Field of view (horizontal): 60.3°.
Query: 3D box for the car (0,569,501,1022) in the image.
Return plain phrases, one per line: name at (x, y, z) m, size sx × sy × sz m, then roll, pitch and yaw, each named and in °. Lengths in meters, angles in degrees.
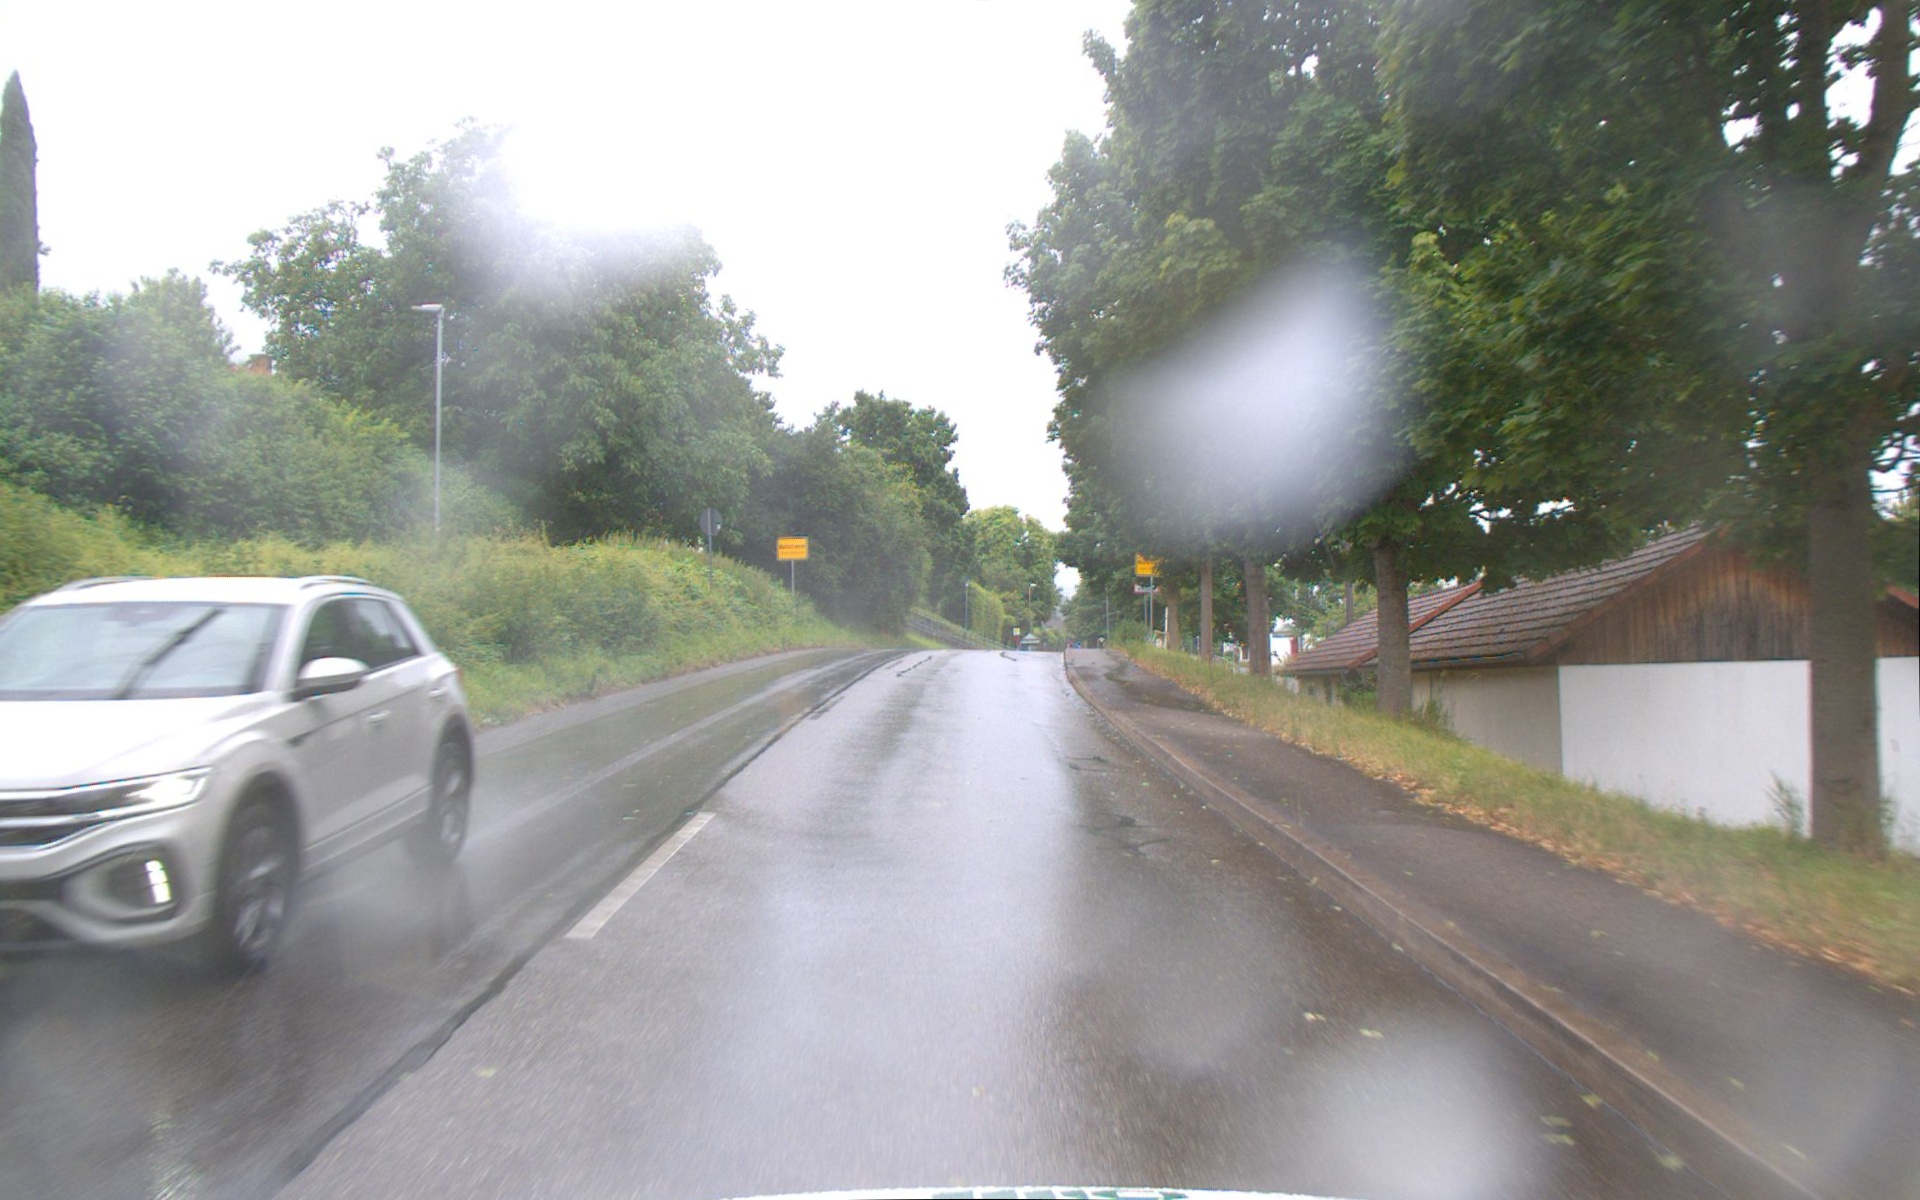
car at (-3.559, 0.642, 7.650) m, size 1.745 × 1.531 × 4.000 m, roll -1°, pitch 1°, yaw 0°
